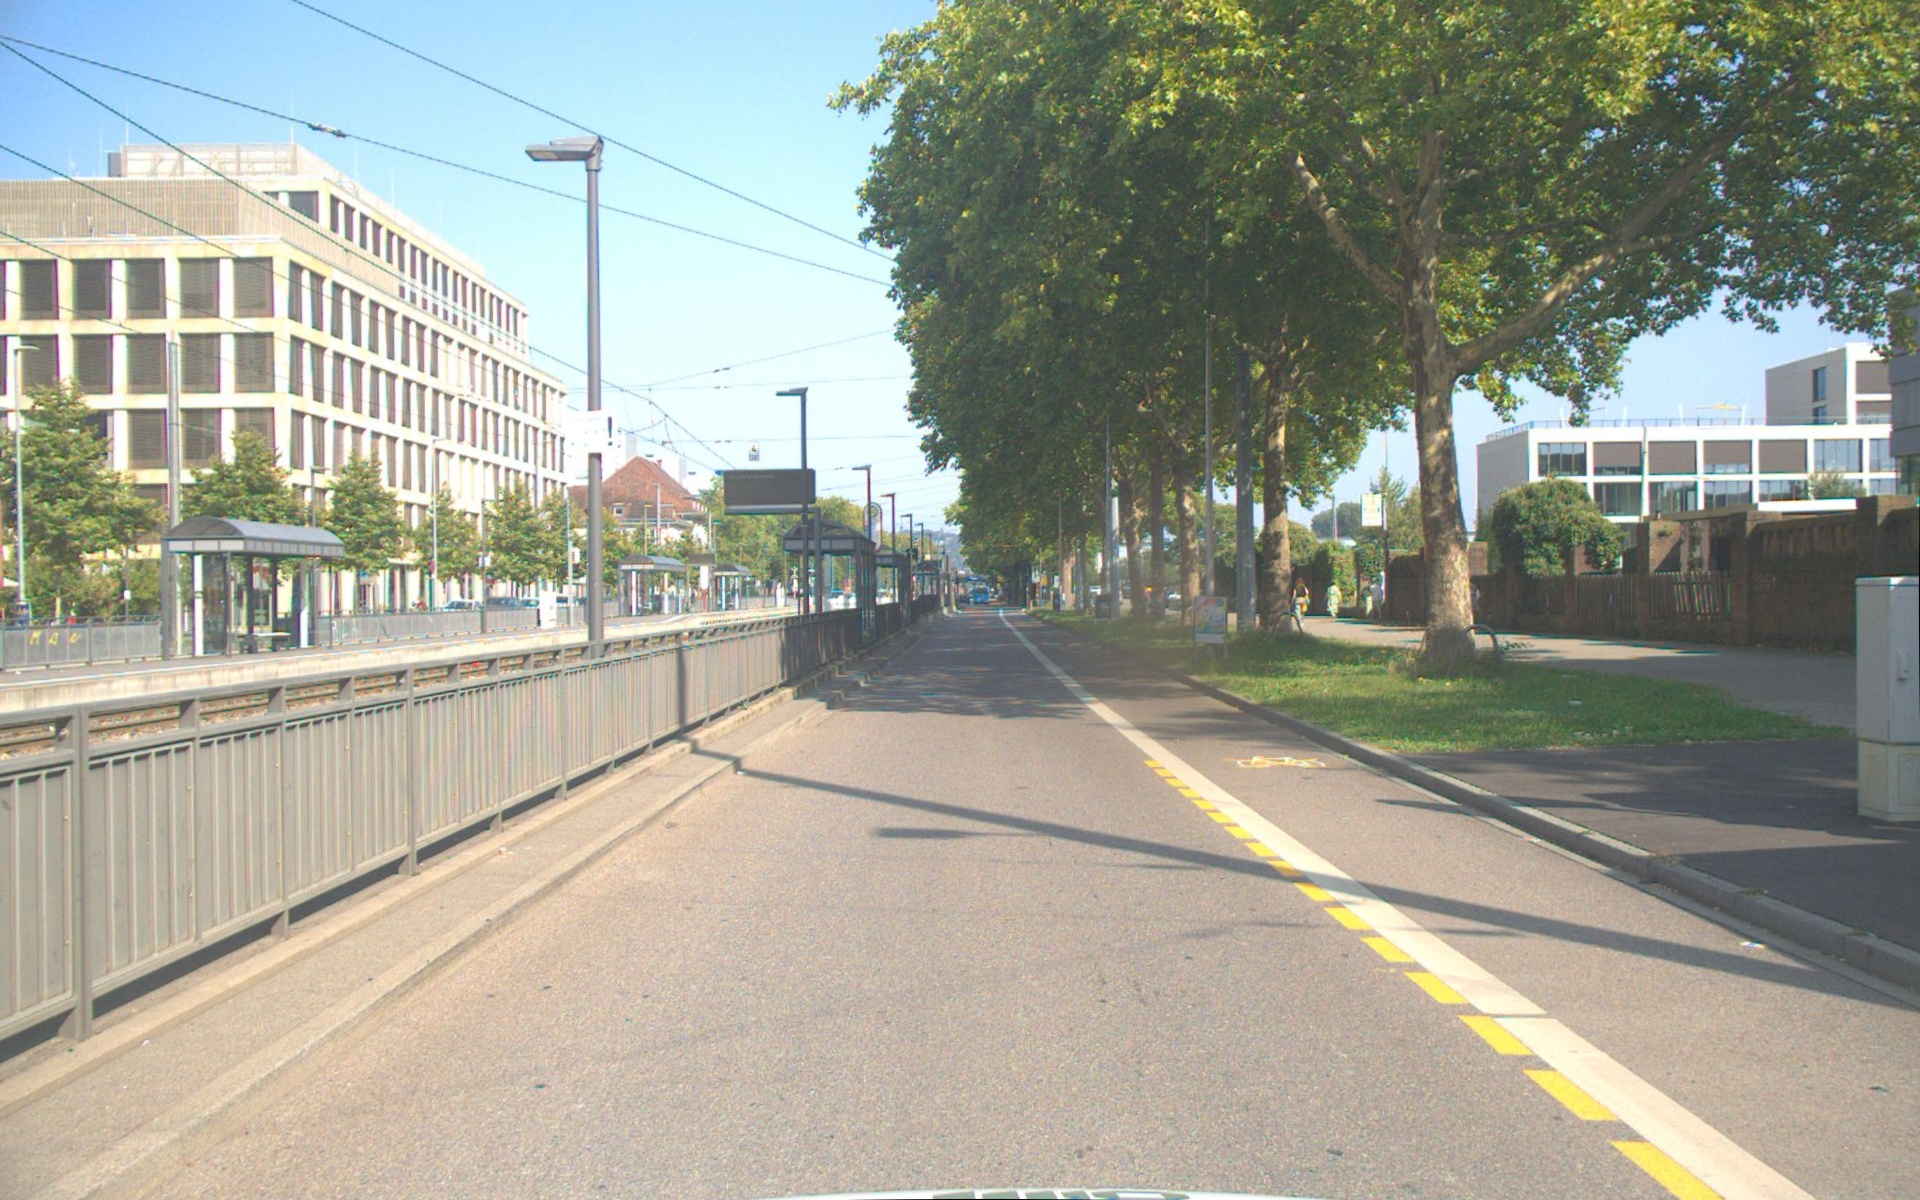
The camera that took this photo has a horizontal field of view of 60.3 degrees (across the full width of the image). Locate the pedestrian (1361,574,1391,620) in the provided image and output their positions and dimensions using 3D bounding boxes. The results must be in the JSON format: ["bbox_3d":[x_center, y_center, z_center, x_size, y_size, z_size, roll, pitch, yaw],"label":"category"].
[{"bbox_3d":[15.128,-0.102,60.154,0.789,1.632,0.947,-2,0,1],"label":"pedestrian"}]

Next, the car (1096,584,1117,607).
[{"bbox_3d":[13.939,-0.424,157.738,1.686,2.084,4.462,-1,0,1],"label":"car"}]

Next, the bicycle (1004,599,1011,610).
[{"bbox_3d":[4.912,0.431,171.346,0.700,1.127,2.509,0,0,1],"label":"bicycle"}]

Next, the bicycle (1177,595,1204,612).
[{"bbox_3d":[14.940,0.216,107.138,1.622,0.986,0.506,-3,0,3],"label":"bicycle"}]

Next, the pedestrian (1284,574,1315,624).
[{"bbox_3d":[11.553,-0.026,56.306,0.789,1.665,0.947,-2,0,1],"label":"pedestrian"}]

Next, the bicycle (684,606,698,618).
[{"bbox_3d":[-15.984,0.689,98.265,0.466,0.674,1.614,-1,0,5],"label":"bicycle"}]

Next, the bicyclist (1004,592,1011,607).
[{"bbox_3d":[4.913,-0.032,171.387,0.691,1.486,1.009,0,-1,1],"label":"bicyclist"}]

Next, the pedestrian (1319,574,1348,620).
[{"bbox_3d":[13.643,-0.109,60.481,0.789,1.632,0.947,-2,0,1],"label":"pedestrian"}]

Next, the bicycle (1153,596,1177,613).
[{"bbox_3d":[13.224,0.303,106.643,0.501,0.986,1.637,-2,0,-40],"label":"bicycle"}]

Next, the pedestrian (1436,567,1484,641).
[{"bbox_3d":[11.881,0.101,39.316,0.802,1.716,1.012,-2,0,1],"label":"pedestrian"}]

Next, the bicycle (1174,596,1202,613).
[{"bbox_3d":[14.156,0.296,102.759,1.621,0.986,0.506,-3,0,6],"label":"bicycle"}]
